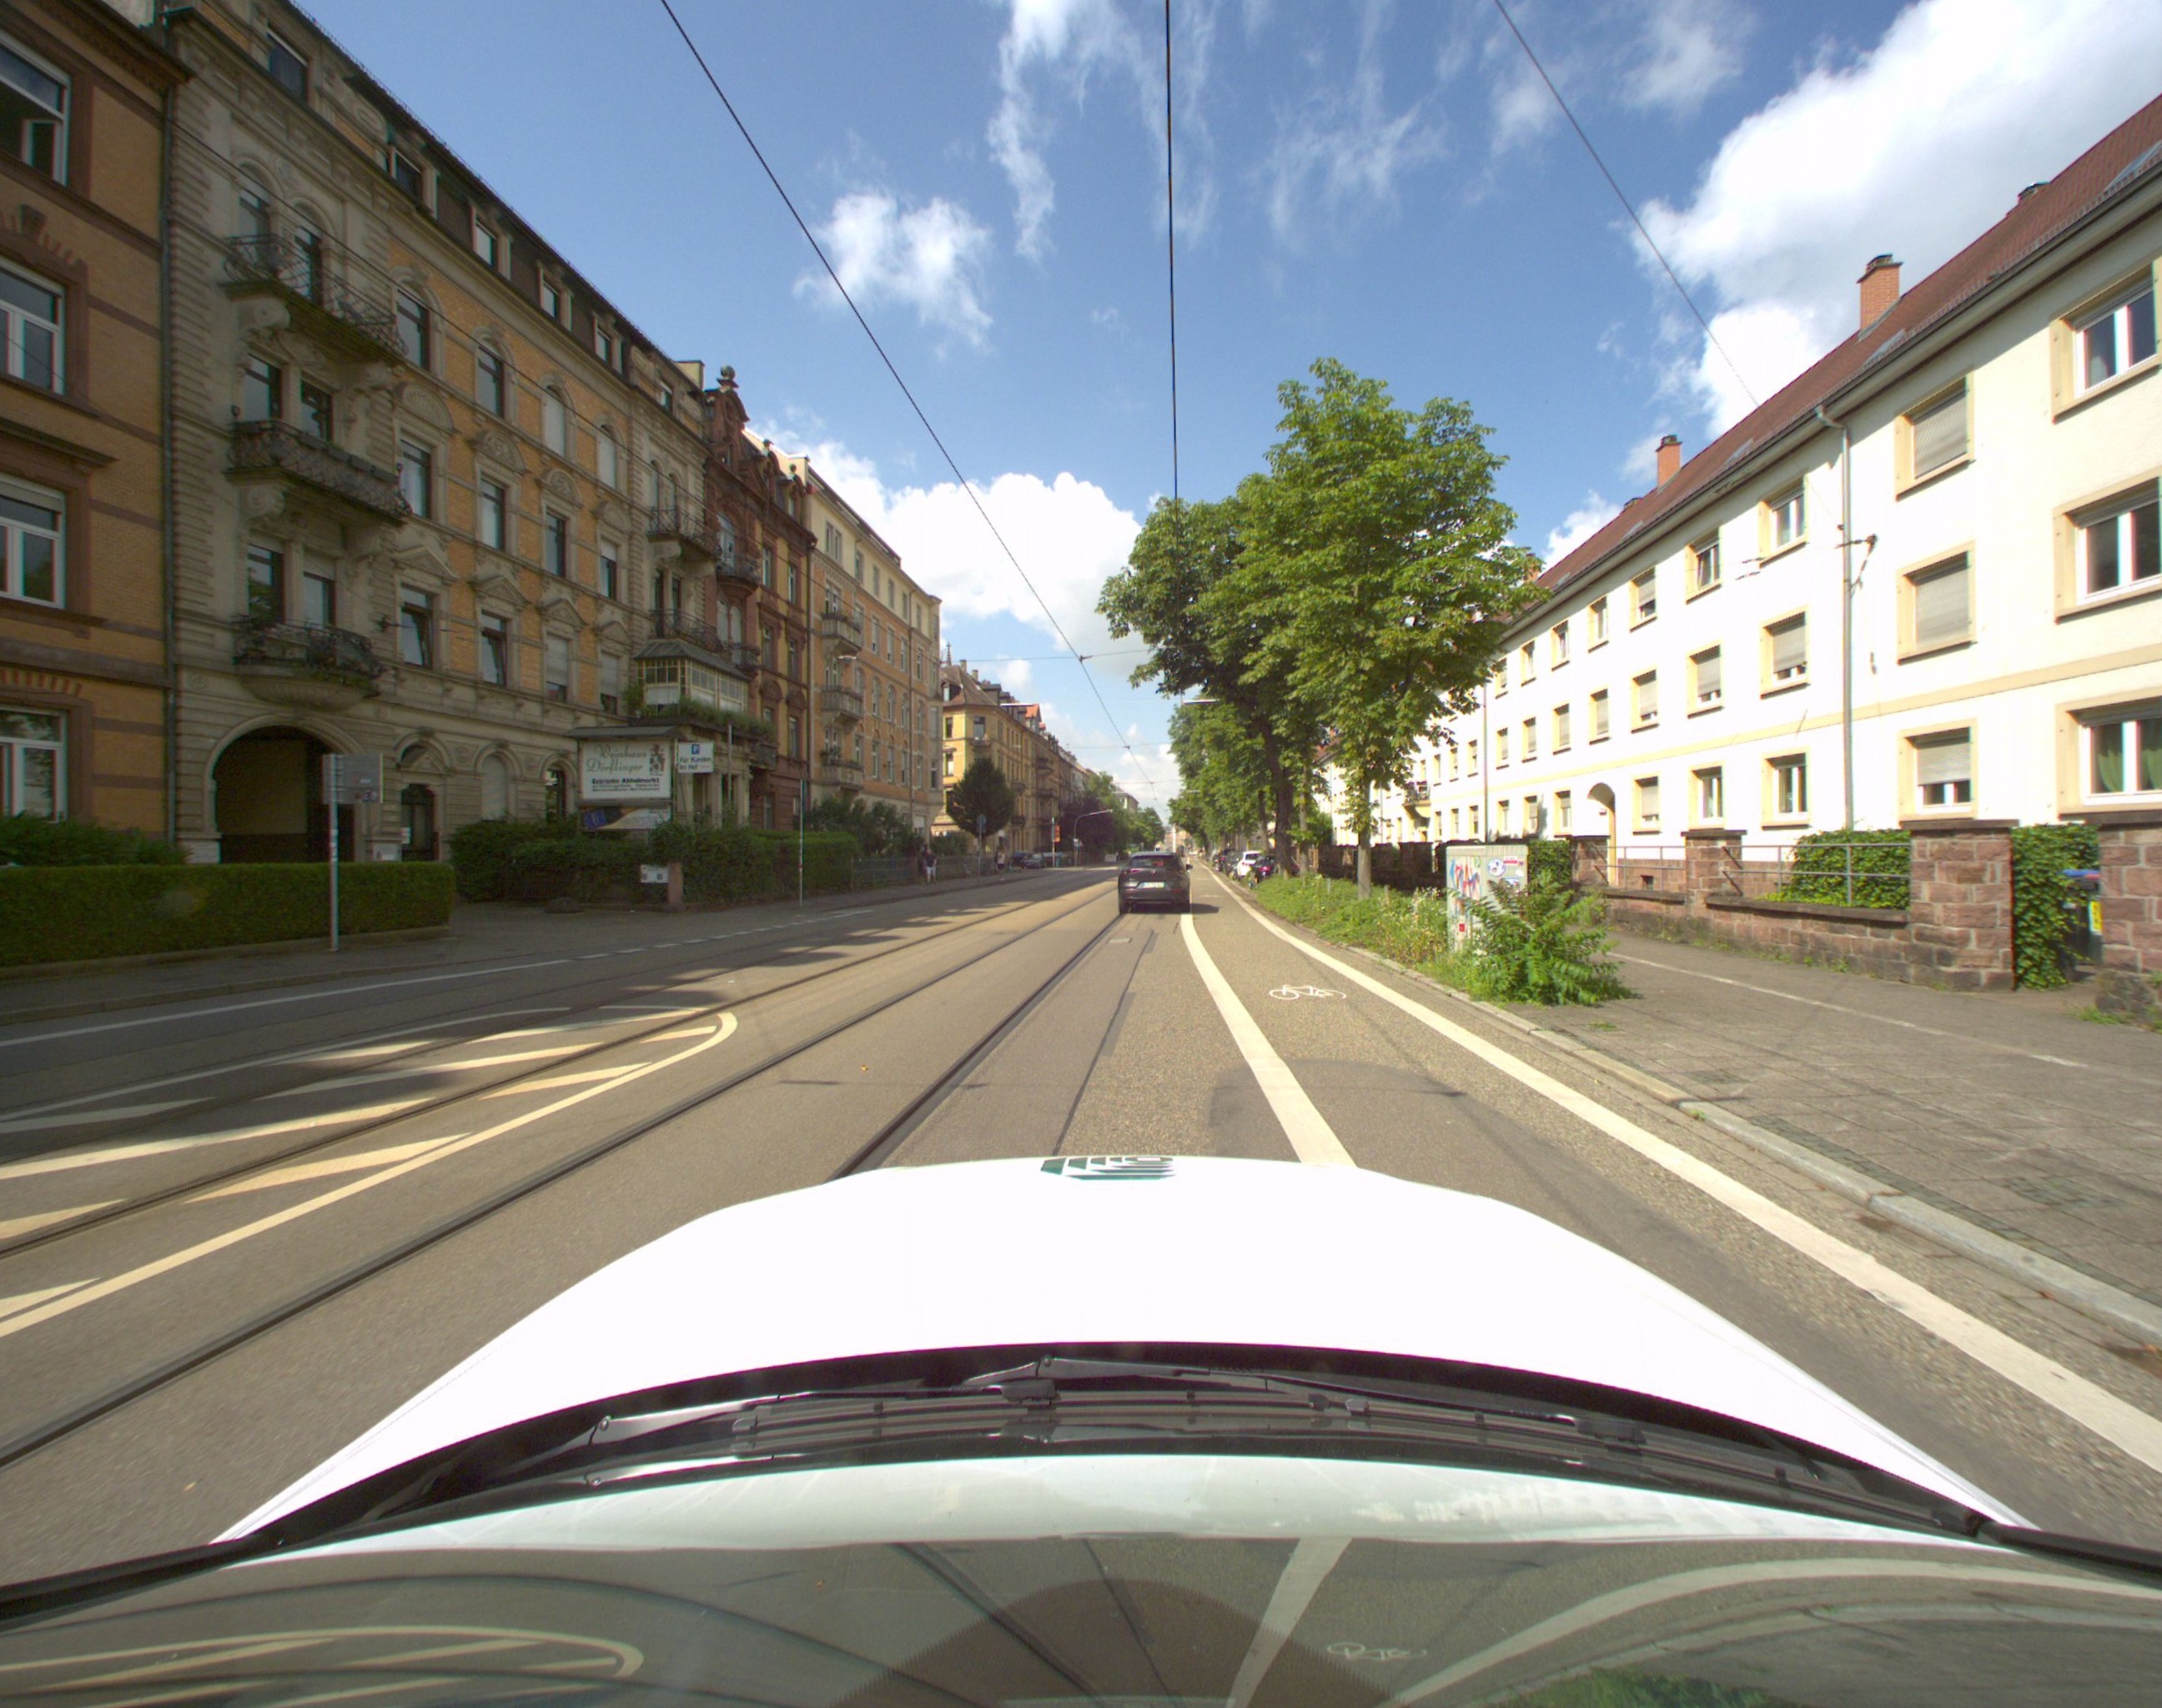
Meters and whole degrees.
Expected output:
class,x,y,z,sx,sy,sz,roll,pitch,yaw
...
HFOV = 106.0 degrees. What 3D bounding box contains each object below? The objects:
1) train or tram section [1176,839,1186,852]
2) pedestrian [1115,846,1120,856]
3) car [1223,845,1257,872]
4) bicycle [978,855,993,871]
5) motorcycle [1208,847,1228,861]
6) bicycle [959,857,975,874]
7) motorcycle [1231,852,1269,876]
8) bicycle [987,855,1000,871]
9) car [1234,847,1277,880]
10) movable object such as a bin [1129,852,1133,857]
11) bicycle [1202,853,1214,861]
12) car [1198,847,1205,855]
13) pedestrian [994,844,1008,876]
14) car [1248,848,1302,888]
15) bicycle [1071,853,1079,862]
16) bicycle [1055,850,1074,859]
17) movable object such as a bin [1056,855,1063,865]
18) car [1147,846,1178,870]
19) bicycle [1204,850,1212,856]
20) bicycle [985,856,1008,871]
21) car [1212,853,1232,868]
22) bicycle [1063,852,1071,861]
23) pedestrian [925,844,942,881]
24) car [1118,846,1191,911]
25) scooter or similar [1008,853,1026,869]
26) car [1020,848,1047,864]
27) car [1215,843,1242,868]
class,x,y,z,sx,sy,sz,roll,pitch,yaw
train or tram section,30.258,-2.653,245.930,2.559,3.772,13.046,0,0,6
pedestrian,6.179,-0.551,138.770,0.819,1.706,0.892,-1,0,4
car,10.190,0.250,52.436,1.852,1.653,4.647,0,0,7
bicycle,-5.942,0.555,50.742,0.419,0.976,1.953,0,0,7
motorcycle,16.334,-0.062,97.033,0.682,1.597,2.358,0,2,-44
bicycle,-6.477,0.623,46.240,0.419,0.932,1.953,0,0,7
motorcycle,9.513,0.538,45.785,1.998,1.337,0.748,0,0,3
bicycle,-5.677,0.586,52.864,0.419,0.976,1.953,0,0,7
car,8.808,0.427,41.331,1.733,1.581,4.257,0,0,7
movable object such as a bin,10.399,0.018,169.030,0.741,0.988,1.116,2,0,7
bicycle,20.655,0.525,132.379,1.921,1.176,0.515,-2,-1,19
car,28.905,-0.754,195.080,1.711,1.968,4.217,-1,0,8
pedestrian,-4.399,0.325,44.849,0.530,1.760,1.108,2,0,7
car,7.747,0.504,32.839,1.652,1.521,4.296,0,0,7
bicycle,-0.668,0.337,88.772,0.527,0.946,1.972,-1,0,7
bicycle,-1.782,0.092,87.303,1.953,0.946,0.532,-1,0,2
movable object such as a bin,-2.132,0.598,80.718,0.522,0.906,0.637,-1,0,6
car,5.591,0.278,55.438,1.983,1.528,4.008,2,0,7
bicycle,22.887,-0.225,146.513,1.482,0.983,0.259,-1,-1,9
bicycle,-5.678,0.623,54.901,1.445,0.976,0.405,-1,0,7
car,14.096,0.624,81.581,1.697,1.479,4.205,2,0,7
bicycle,-1.440,0.231,84.415,0.527,0.946,1.972,-1,0,7
pedestrian,-6.906,0.371,38.124,0.485,1.703,1.153,0,0,5
car,1.981,0.581,21.212,1.711,1.526,3.597,-1,0,7
scooter or similar,-4.998,0.528,63.701,1.366,1.235,0.401,0,0,-21
car,-4.522,0.171,78.776,1.676,1.459,4.775,-1,0,8
car,11.202,0.060,62.110,1.817,1.782,4.743,-1,1,7
